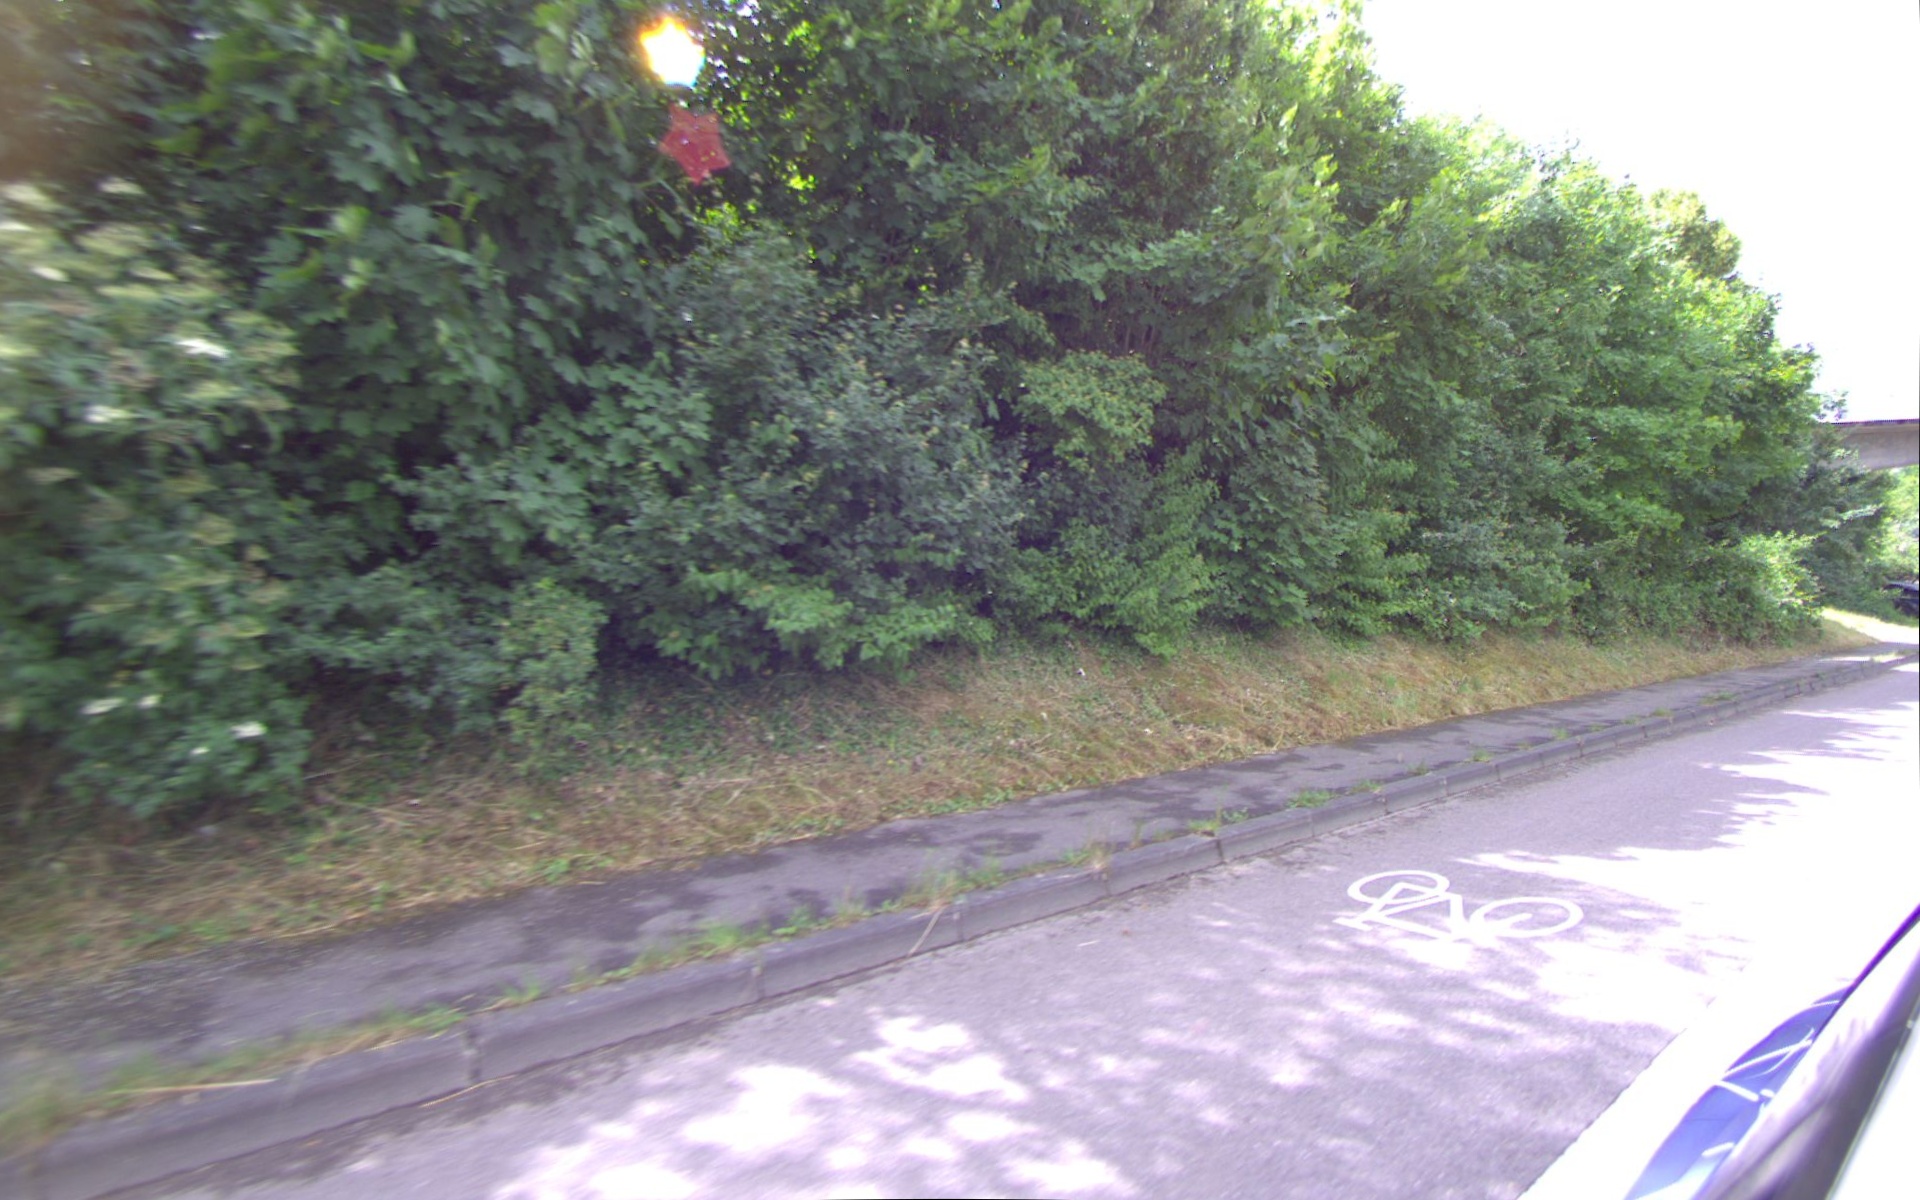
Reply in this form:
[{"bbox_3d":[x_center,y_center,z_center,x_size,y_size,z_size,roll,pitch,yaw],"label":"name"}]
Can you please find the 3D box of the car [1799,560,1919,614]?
[{"bbox_3d":[39.528,-0.601,43.764,1.963,1.689,4.545,-3,11,-36],"label":"car"}]
